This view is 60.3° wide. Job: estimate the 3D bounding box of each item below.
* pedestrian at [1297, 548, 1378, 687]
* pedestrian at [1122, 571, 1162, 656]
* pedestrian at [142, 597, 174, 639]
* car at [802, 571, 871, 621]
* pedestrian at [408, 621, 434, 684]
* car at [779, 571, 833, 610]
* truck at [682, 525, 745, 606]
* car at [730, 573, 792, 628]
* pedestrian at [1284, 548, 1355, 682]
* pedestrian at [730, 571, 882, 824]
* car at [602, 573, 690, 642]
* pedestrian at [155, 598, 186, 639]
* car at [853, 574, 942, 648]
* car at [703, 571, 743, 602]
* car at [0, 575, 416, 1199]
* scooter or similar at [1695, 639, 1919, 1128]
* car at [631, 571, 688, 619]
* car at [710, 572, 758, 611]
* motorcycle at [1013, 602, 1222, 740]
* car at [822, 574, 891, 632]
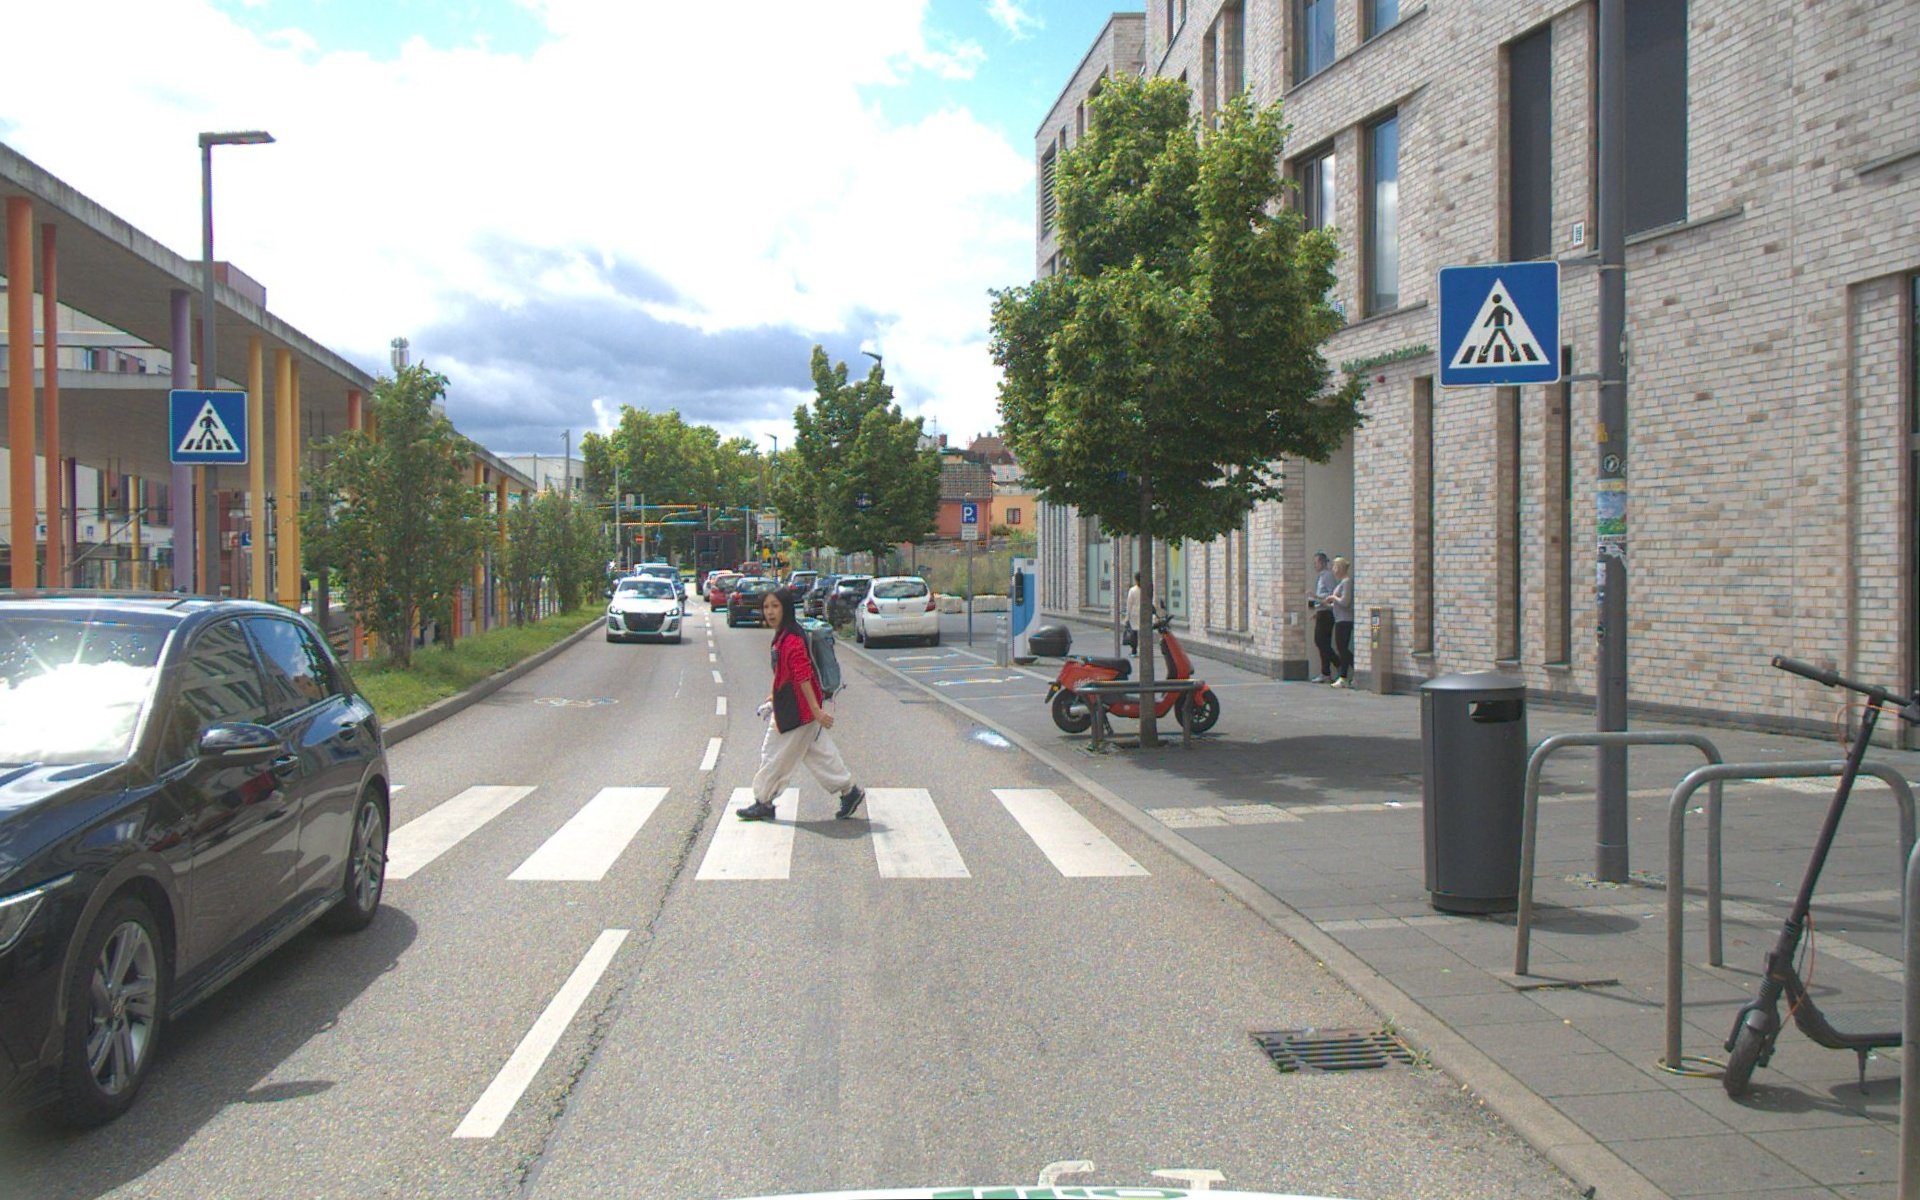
[{"bbox_3d":[4.997,0.230,21.912,0.722,1.797,0.752,-1,-1,-23],"label":"pedestrian"},{"bbox_3d":[3.277,0.232,29.883,0.595,1.498,0.791,-2,1,-1],"label":"pedestrian"},{"bbox_3d":[-27.741,0.624,57.251,0.807,1.403,0.701,1,1,-8],"label":"pedestrian"},{"bbox_3d":[-4.006,-0.156,52.968,1.830,1.476,4.634,-2,1,-9],"label":"car"},{"bbox_3d":[-16.032,1.562,49.180,0.575,1.862,0.709,1,-1,-7],"label":"pedestrian"},{"bbox_3d":[-6.324,-0.410,67.540,1.750,1.477,4.465,-2,1,-10],"label":"car"},{"bbox_3d":[-15.015,-1.956,100.103,3.147,4.615,9.000,1,-1,-12],"label":"truck"},{"bbox_3d":[-5.896,-0.023,48.709,1.694,1.482,3.802,-1,2,-8],"label":"car"},{"bbox_3d":[4.930,0.206,22.694,0.723,1.797,0.621,-1,-1,-15],"label":"pedestrian"},{"bbox_3d":[-1.027,0.625,10.892,0.910,1.593,0.813,1,-1,-11],"label":"pedestrian"},{"bbox_3d":[-7.227,0.151,38.398,1.777,1.494,3.901,1,1,-8],"label":"car"},{"bbox_3d":[-27.813,0.634,58.270,0.807,1.403,0.701,1,1,-8],"label":"pedestrian"},{"bbox_3d":[-1.462,0.204,37.289,1.660,1.509,3.792,-2,1,-7],"label":"car"},{"bbox_3d":[-12.044,-0.692,83.957,1.854,1.491,4.059,-1,0,-10],"label":"car"},{"bbox_3d":[-3.191,0.664,5.498,1.738,1.489,4.229,1,0,-6],"label":"car"},{"bbox_3d":[2.790,0.756,4.680,1.172,1.271,0.493,-1,0,-2],"label":"scooter or similar"},{"bbox_3d":[-10.634,-0.198,58.561,1.885,1.633,4.615,1,1,-11],"label":"car"},{"bbox_3d":[-8.928,-0.344,65.172,1.681,1.417,3.800,-1,2,-10],"label":"car"},{"bbox_3d":[1.596,0.709,16.659,2.006,1.288,0.673,-2,0,9],"label":"motorcycle"},{"bbox_3d":[-2.955,0.041,46.532,1.661,1.486,4.140,-2,1,-7],"label":"car"}]
